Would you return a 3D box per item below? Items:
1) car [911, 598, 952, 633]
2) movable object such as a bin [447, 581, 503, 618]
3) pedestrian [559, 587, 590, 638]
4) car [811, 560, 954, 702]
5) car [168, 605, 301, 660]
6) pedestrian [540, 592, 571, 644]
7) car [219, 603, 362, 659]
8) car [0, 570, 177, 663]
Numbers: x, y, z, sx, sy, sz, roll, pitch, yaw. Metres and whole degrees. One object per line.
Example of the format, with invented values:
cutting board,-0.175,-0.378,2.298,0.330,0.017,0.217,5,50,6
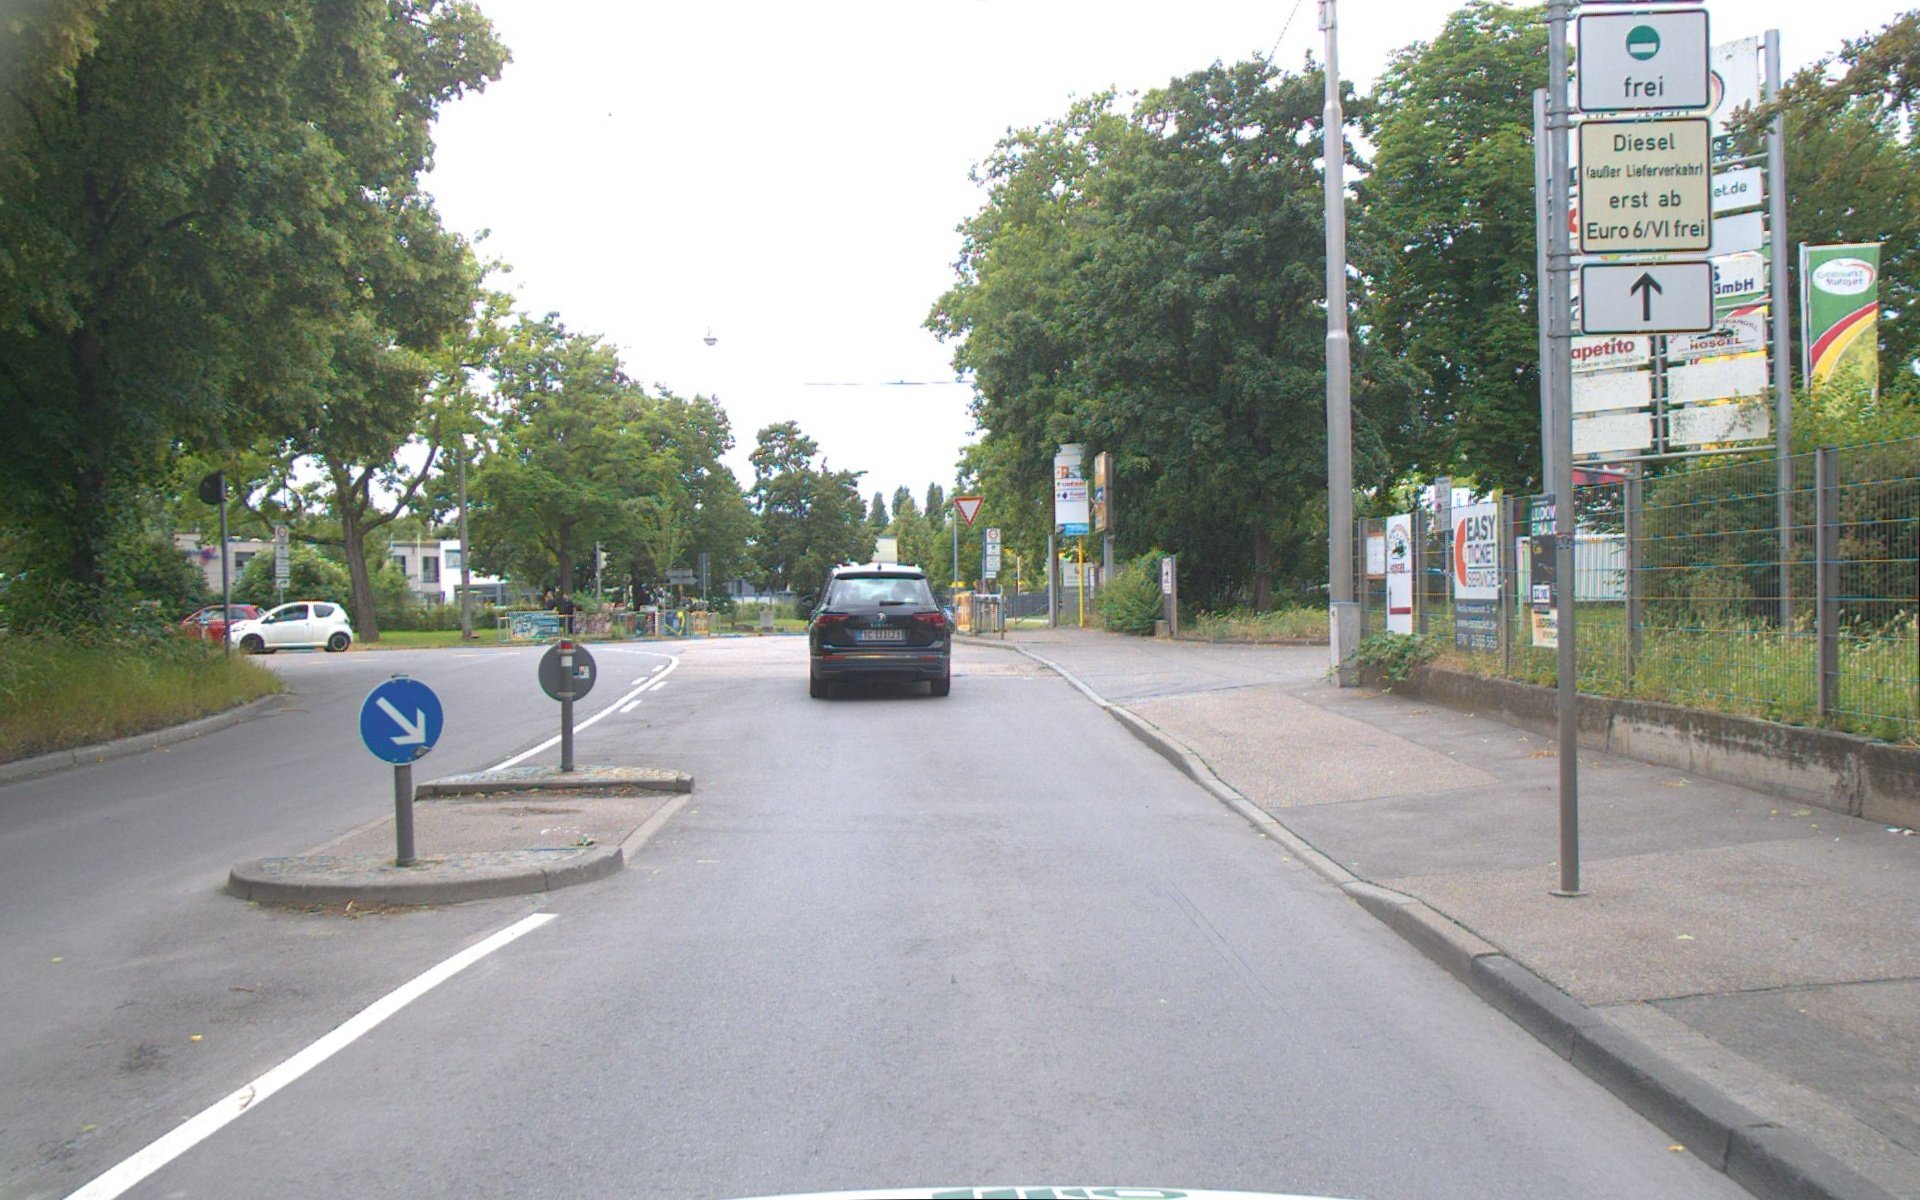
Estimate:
car,-1.369,0.726,80.419,1.624,1.601,3.830,-2,0,3
movable object such as a bin,-27.276,-0.036,93.135,1.952,2.049,2.400,-1,0,19
pedestrian,-13.547,0.429,58.123,0.729,1.772,0.724,-1,0,38
car,-1.070,0.330,21.749,1.705,1.646,3.638,-1,2,-4
car,-21.828,0.957,49.875,3.333,1.504,1.636,-2,0,-11
pedestrian,-14.070,0.615,57.505,0.729,1.772,0.724,-1,0,38
car,-19.104,0.853,47.232,3.568,1.434,1.723,-2,1,-31
car,-25.434,0.464,46.135,5.958,2.429,2.390,-2,0,-9
